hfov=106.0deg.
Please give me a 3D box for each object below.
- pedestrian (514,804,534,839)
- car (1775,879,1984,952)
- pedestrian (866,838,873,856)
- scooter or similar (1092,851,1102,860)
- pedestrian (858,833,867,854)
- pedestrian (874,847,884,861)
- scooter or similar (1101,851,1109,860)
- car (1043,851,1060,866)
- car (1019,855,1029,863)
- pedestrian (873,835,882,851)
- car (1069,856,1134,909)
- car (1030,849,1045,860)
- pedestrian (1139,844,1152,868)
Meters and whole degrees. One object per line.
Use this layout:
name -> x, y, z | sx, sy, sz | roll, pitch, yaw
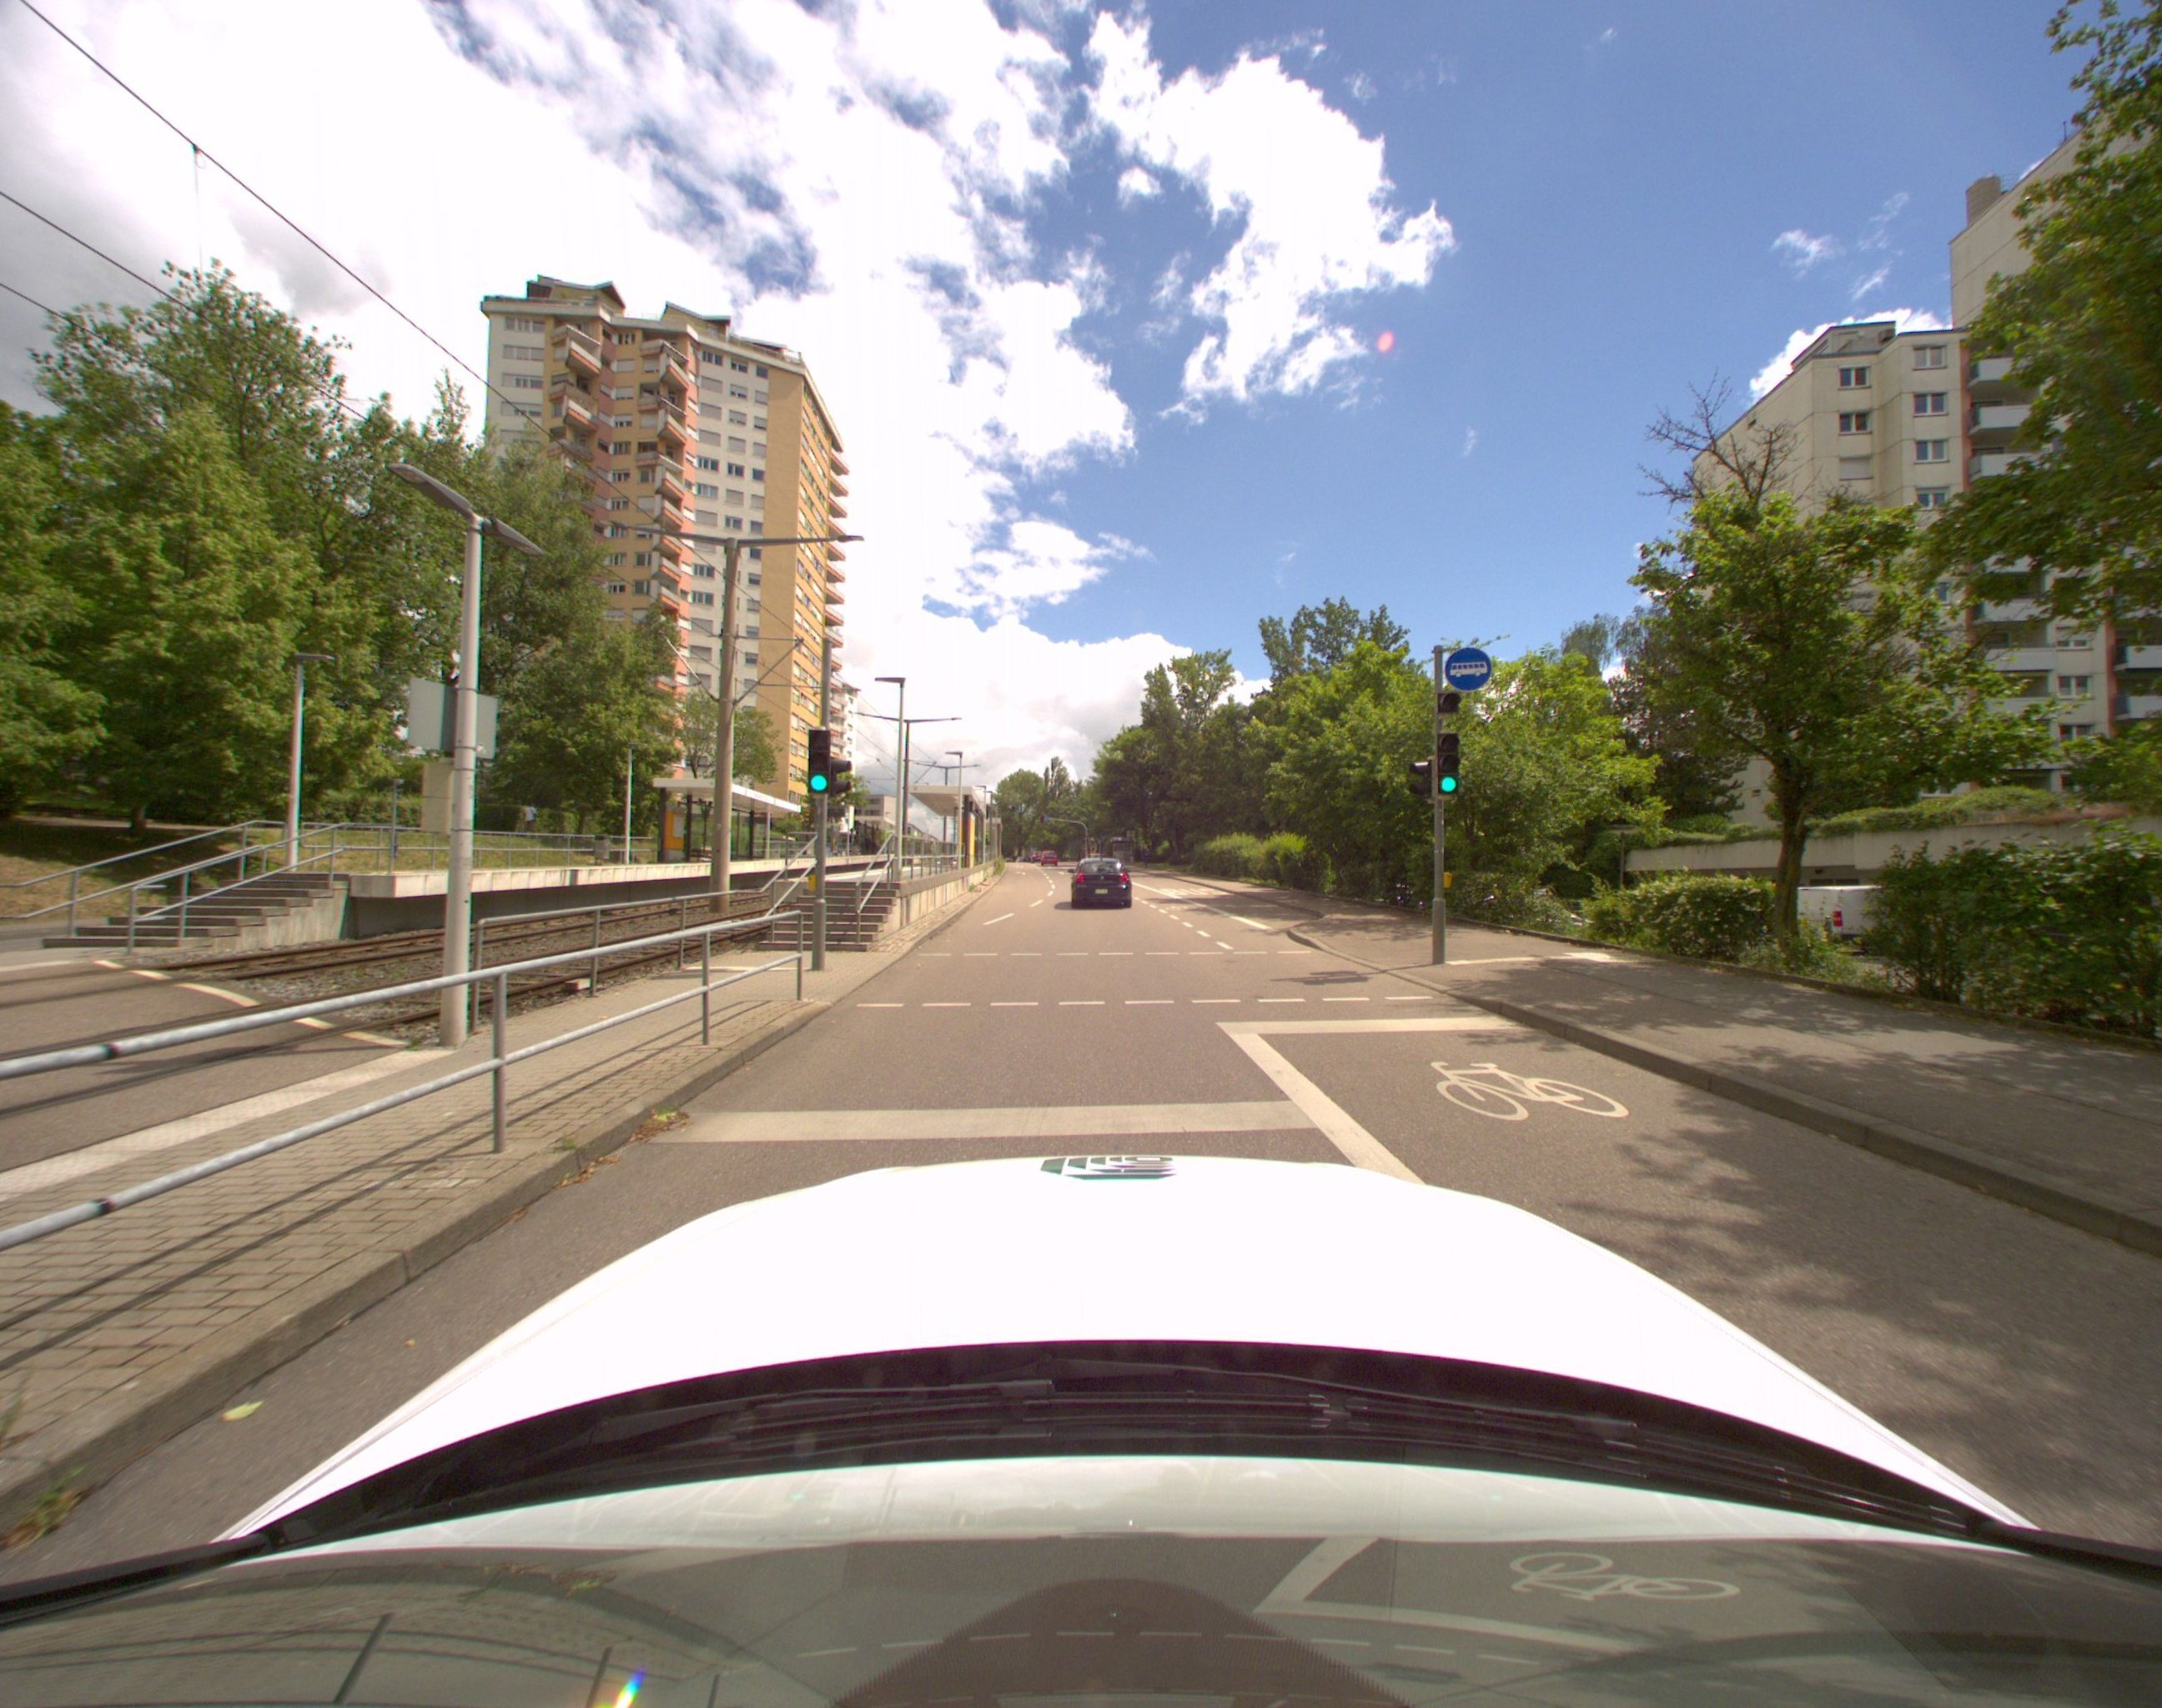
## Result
pedestrian -> -26.980, -1.568, 39.456 | 0.649, 1.712, 0.503 | 0, 0, -5
car -> 22.420, 1.706, 22.989 | 3.970, 1.892, 1.792 | -1, -2, 3
pedestrian -> -17.039, -0.558, 65.554 | 0.542, 1.380, 0.519 | 0, -3, -14
scooter or similar -> 2.248, 0.218, 113.442 | 1.293, 1.189, 0.382 | 0, 0, -21
pedestrian -> -17.382, -0.839, 64.893 | 0.524, 1.644, 0.558 | 0, 0, -38
pedestrian -> -17.393, -0.009, 70.232 | 0.741, 1.236, 0.517 | 0, 0, -5
scooter or similar -> 3.372, 0.183, 114.345 | 1.109, 1.258, 0.330 | 0, 0, -17
car -> -3.029, 0.427, 82.025 | 1.592, 1.419, 3.511 | 0, 0, -4
car -> -10.628, 0.922, 152.942 | 1.649, 1.419, 3.515 | 1, 0, -1
pedestrian -> -17.308, -0.956, 69.332 | 0.642, 1.369, 0.506 | 0, 0, -5
car -> 0.537, 0.781, 23.899 | 1.651, 1.419, 3.513 | 0, 0, -3
car -> -5.369, 0.046, 99.983 | 1.653, 1.419, 3.509 | 0, 0, -7
pedestrian -> 5.089, 0.174, 64.667 | 0.800, 1.895, 1.268 | 2, 0, -4
